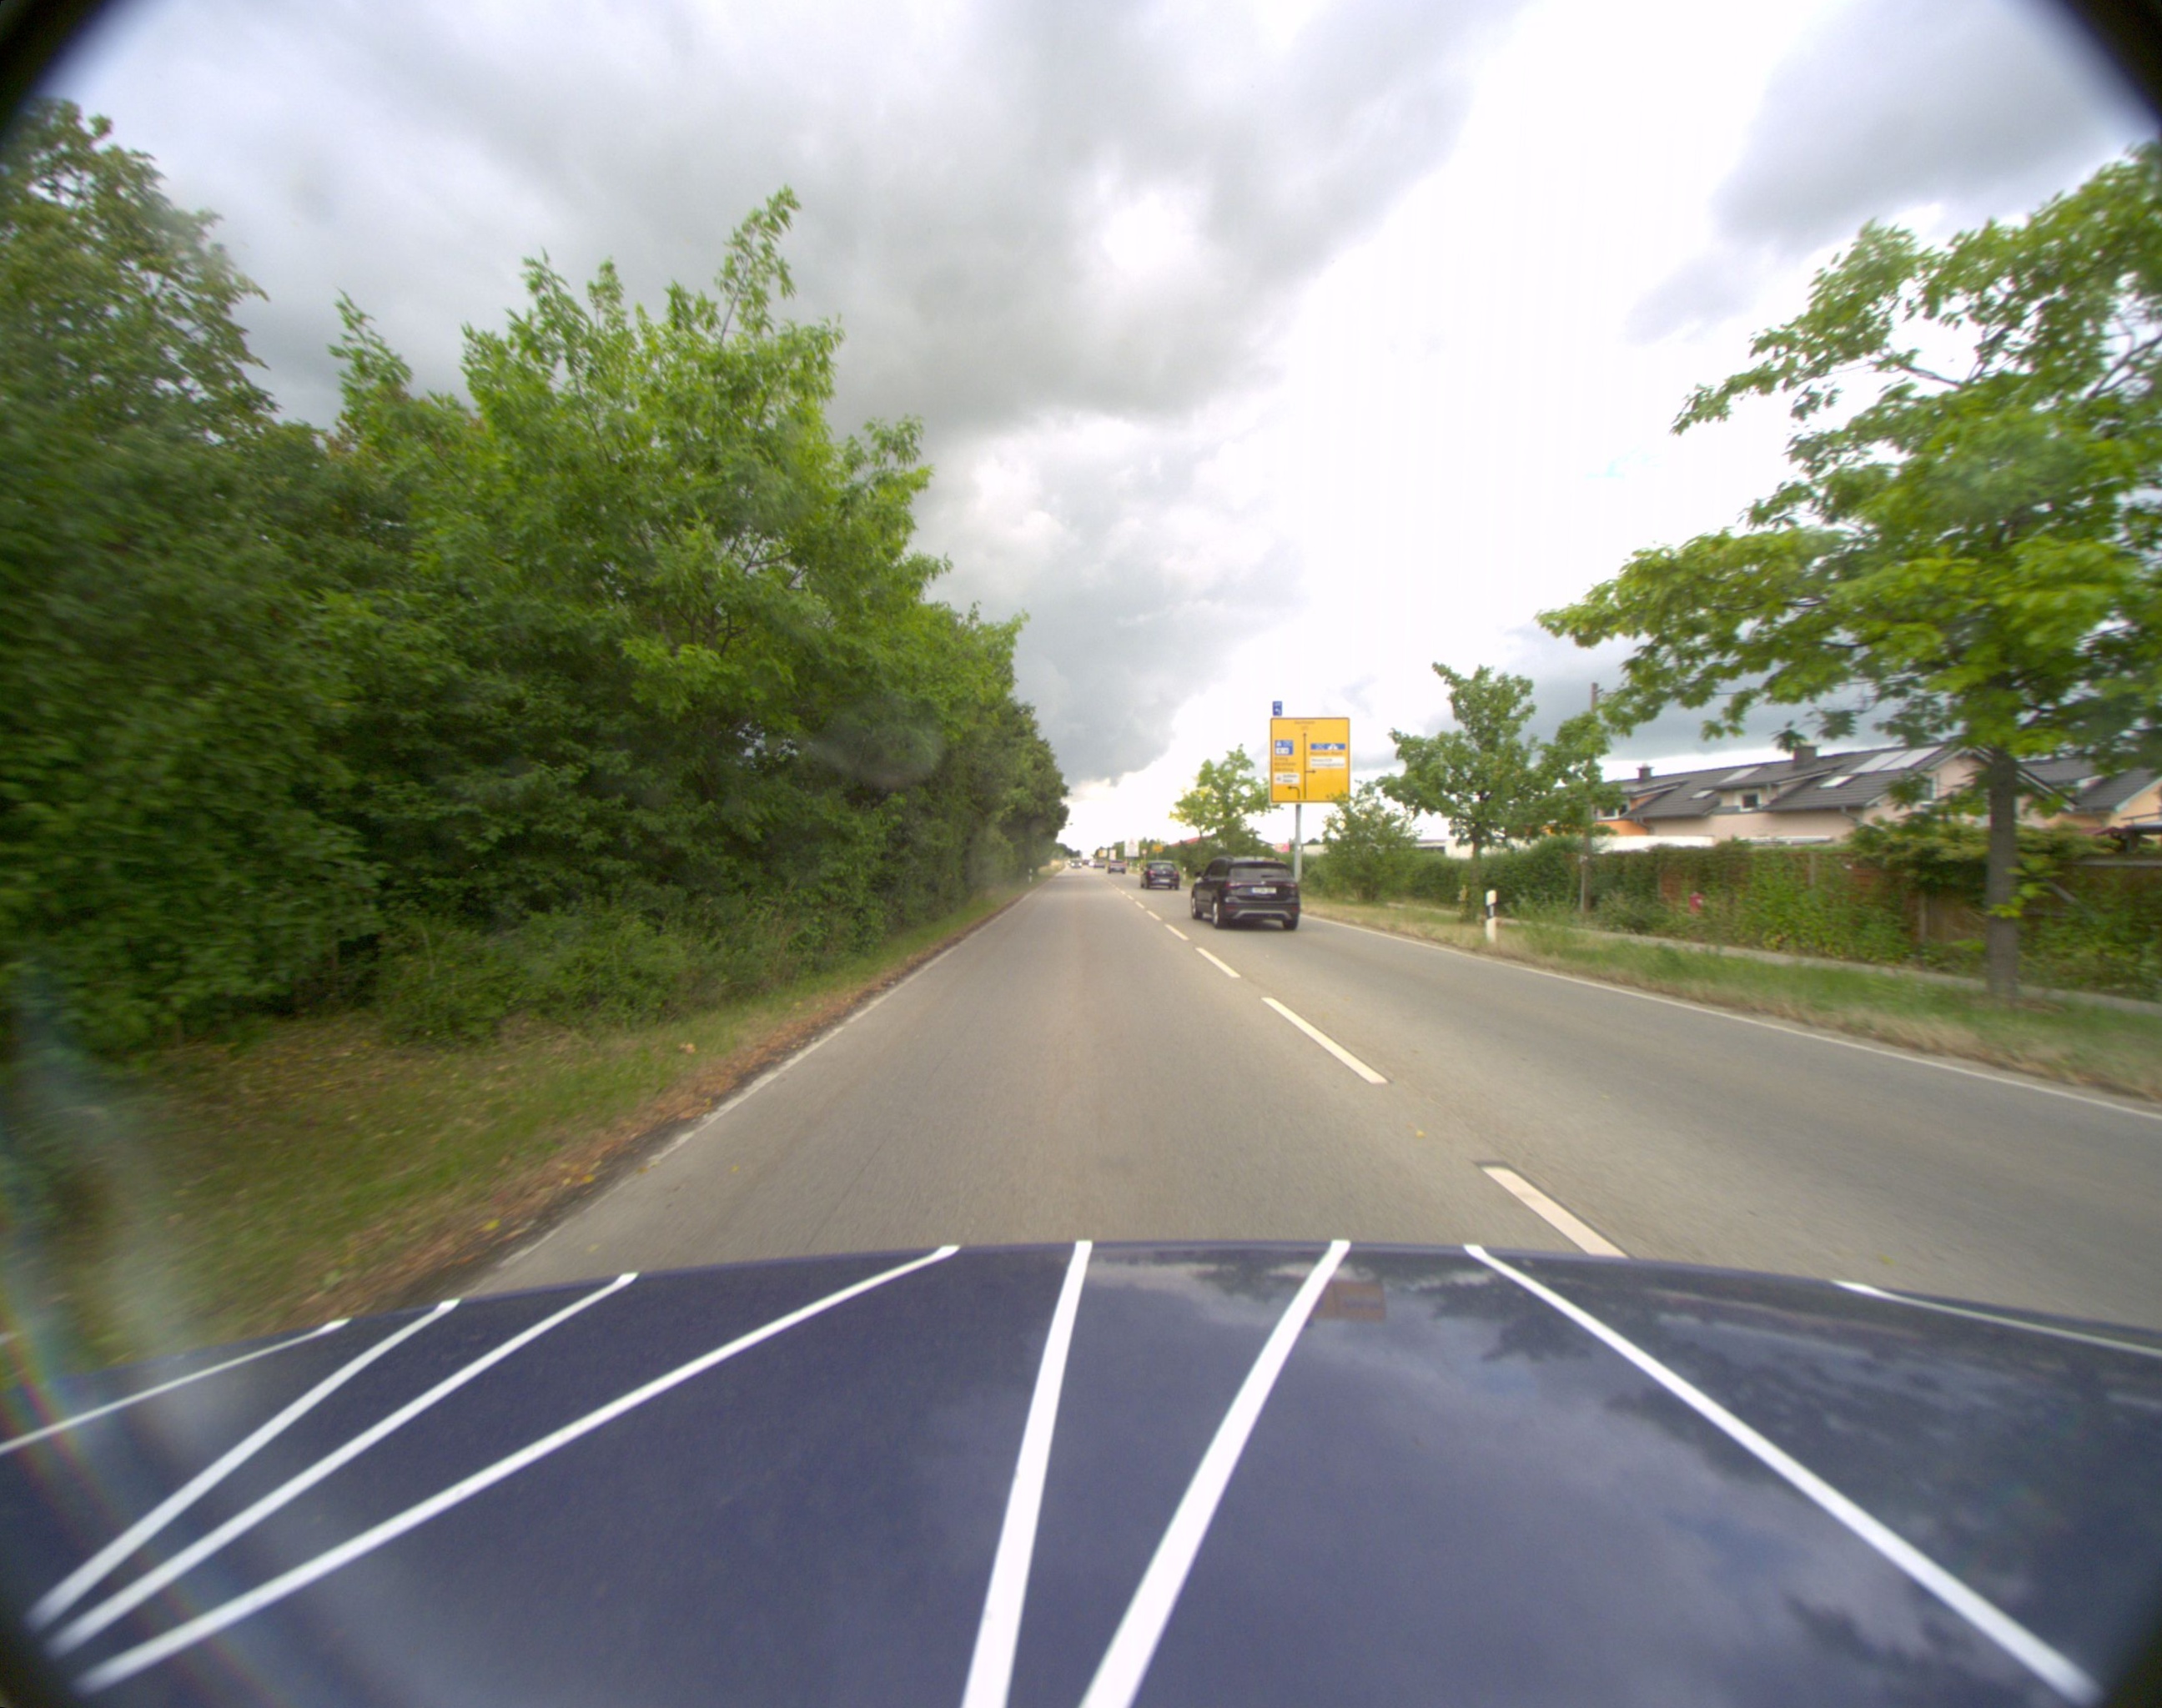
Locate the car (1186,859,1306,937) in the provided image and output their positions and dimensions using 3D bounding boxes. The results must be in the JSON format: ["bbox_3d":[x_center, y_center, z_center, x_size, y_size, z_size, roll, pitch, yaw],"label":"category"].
[{"bbox_3d":[3.597,0.895,17.328,1.738,1.525,4.094,1,0,-1],"label":"car"}]

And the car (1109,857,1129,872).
[{"bbox_3d":[4.047,1.130,81.683,1.820,1.485,4.203,1,0,-1],"label":"car"}]

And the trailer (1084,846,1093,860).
[{"bbox_3d":[2.203,-0.234,228.919,2.641,4.096,13.765,0,0,0],"label":"trailer"}]

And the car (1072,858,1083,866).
[{"bbox_3d":[-0.600,1.370,131.341,1.869,1.352,3.826,0,0,0],"label":"car"}]

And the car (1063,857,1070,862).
[{"bbox_3d":[-3.824,1.477,199.982,1.777,1.407,4.079,1,0,0],"label":"car"}]

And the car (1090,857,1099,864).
[{"bbox_3d":[2.809,1.436,159.311,1.777,1.365,4.100,1,0,0],"label":"car"}]

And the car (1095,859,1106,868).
[{"bbox_3d":[3.339,1.596,131.237,1.857,1.456,4.370,1,0,-1],"label":"car"}]

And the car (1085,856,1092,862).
[{"bbox_3d":[2.114,1.437,206.816,1.733,1.577,4.504,1,0,0],"label":"car"}]

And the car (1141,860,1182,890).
[{"bbox_3d":[4.057,1.041,38.812,1.681,1.403,4.012,2,0,0],"label":"car"}]
